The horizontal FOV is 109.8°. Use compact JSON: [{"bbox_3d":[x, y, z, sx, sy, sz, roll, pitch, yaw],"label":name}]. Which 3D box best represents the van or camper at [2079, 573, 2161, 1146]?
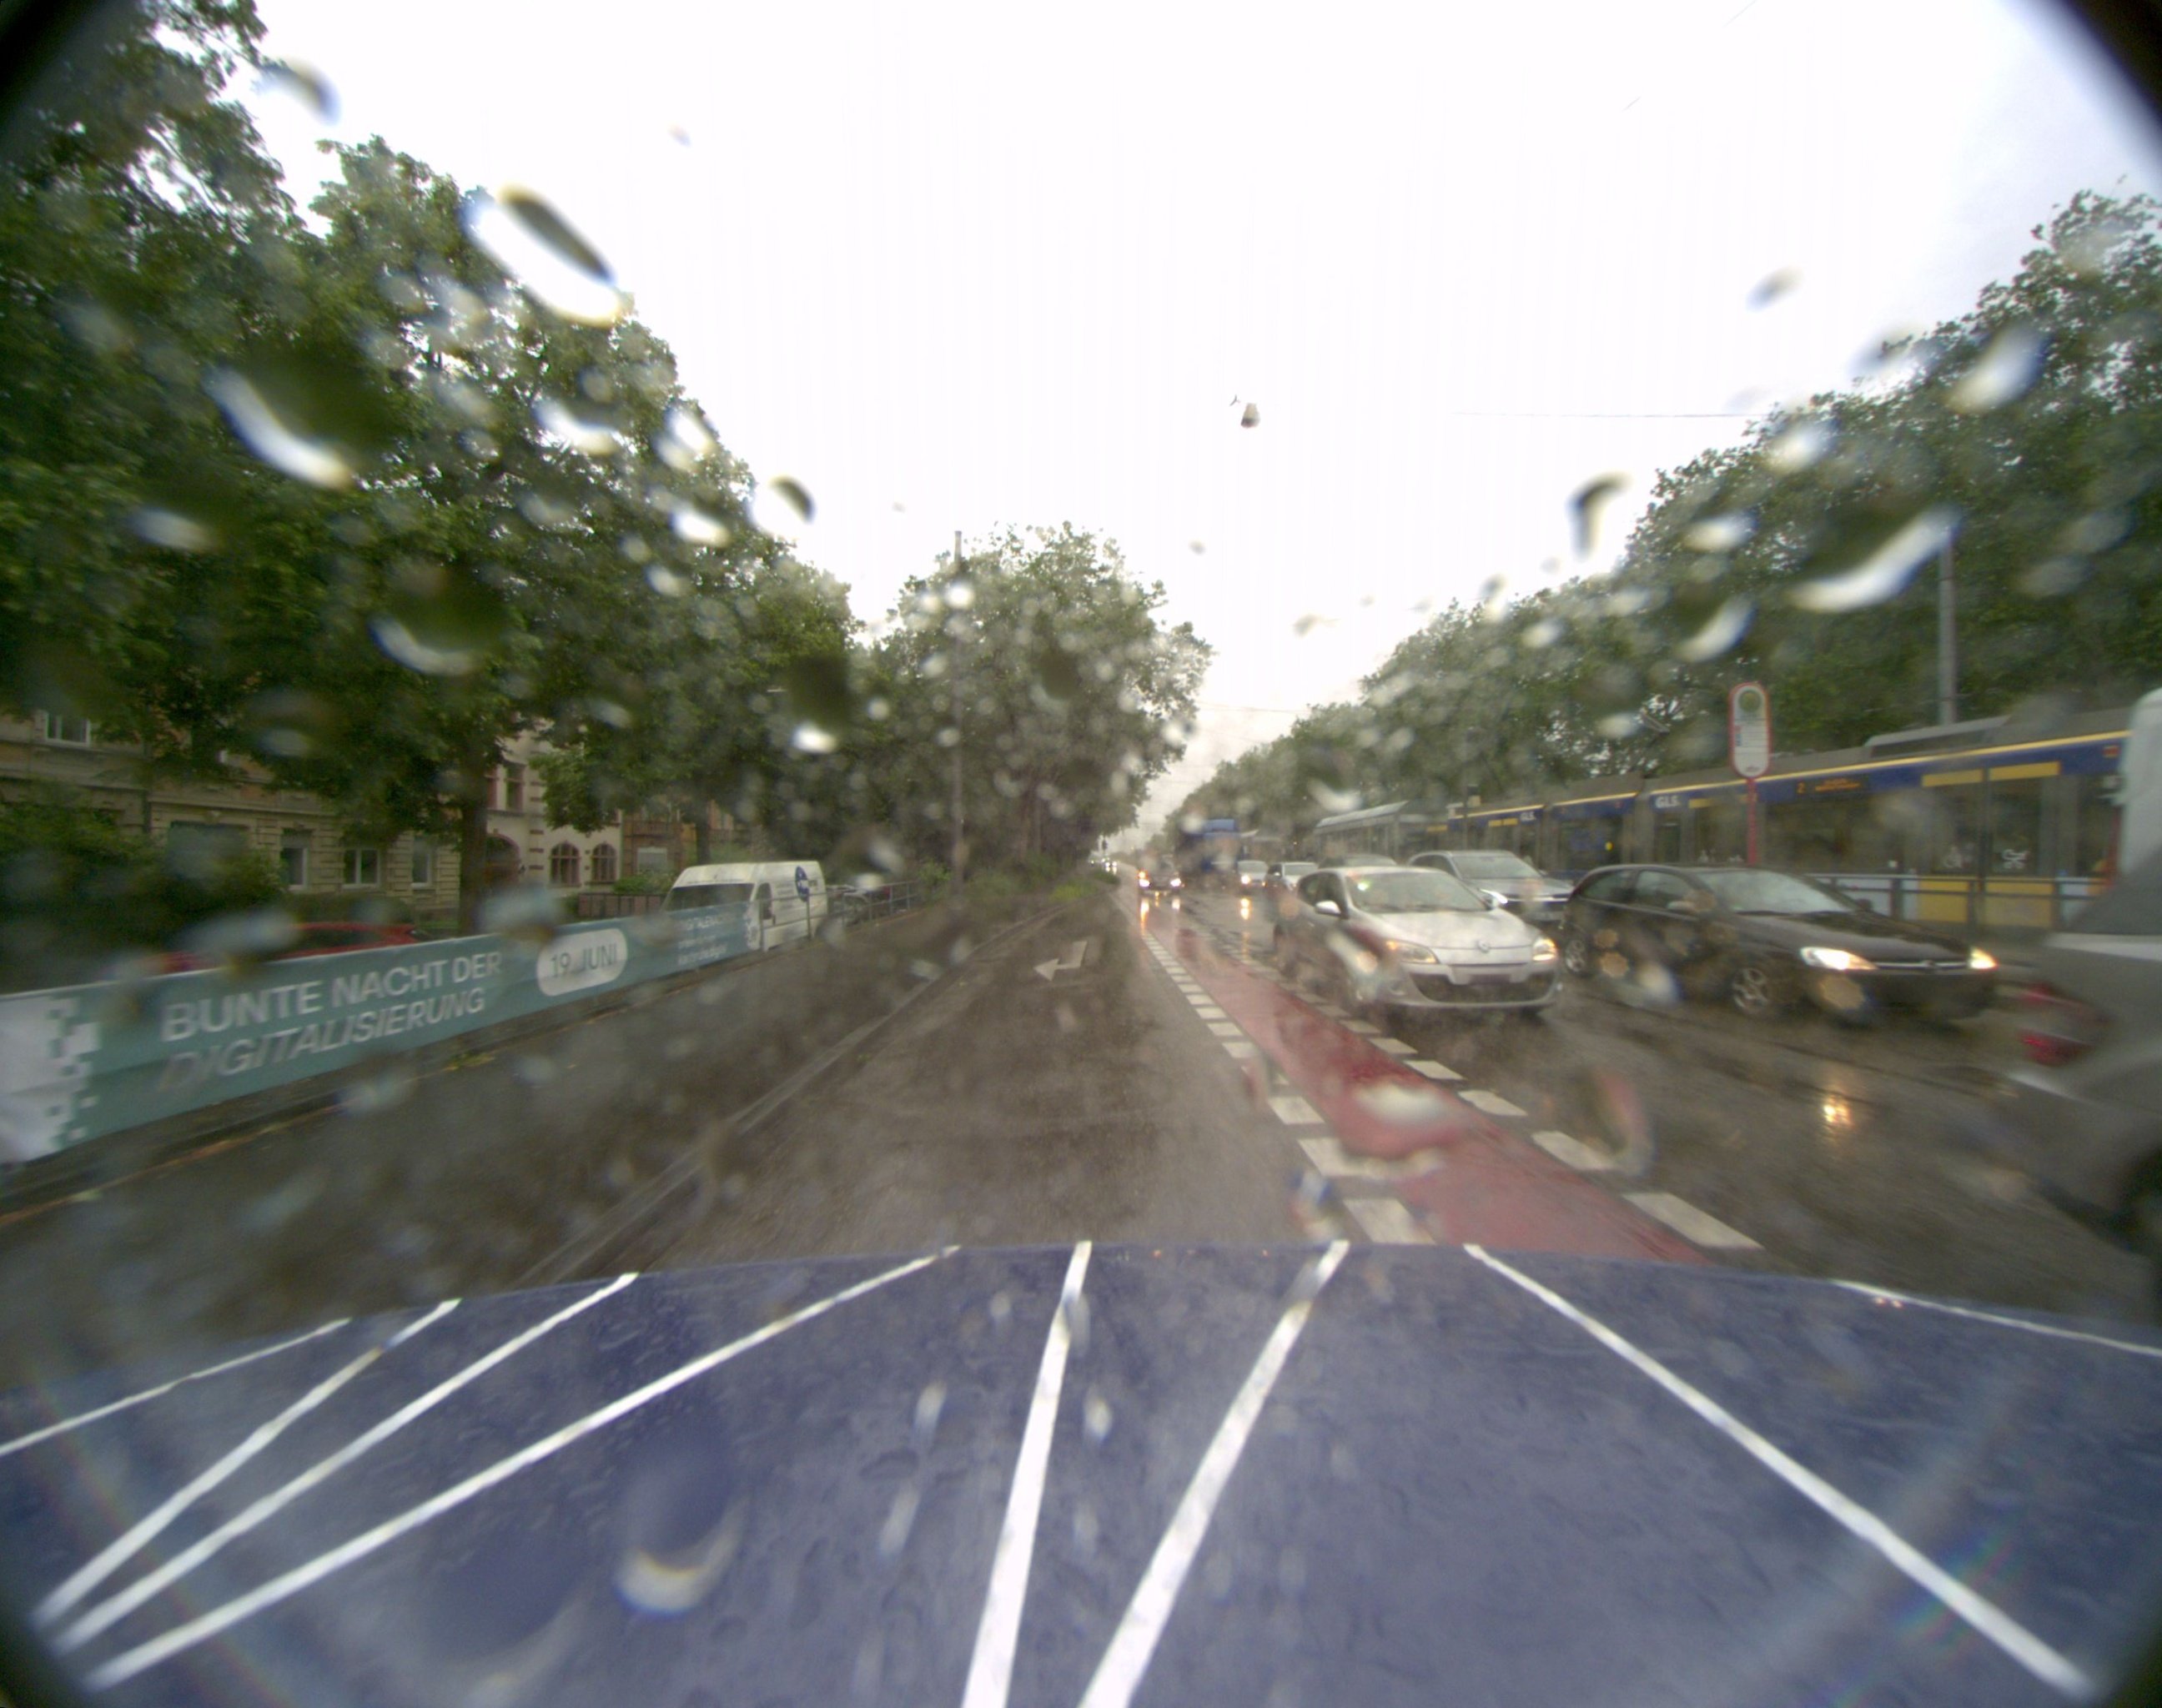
[{"bbox_3d":[7.008,0.020,1.572,2.164,3.123,5.851,0,0,-1],"label":"van or camper"}]

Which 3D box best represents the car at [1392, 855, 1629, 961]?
[{"bbox_3d":[7.460,0.822,13.821,1.919,1.614,4.455,0,0,2],"label":"car"}]

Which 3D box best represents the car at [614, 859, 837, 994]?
[{"bbox_3d":[-7.681,1.390,17.379,2.214,2.406,6.158,-3,0,-1],"label":"car"}]

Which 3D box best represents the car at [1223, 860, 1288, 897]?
[{"bbox_3d":[7.652,1.042,33.750,1.894,1.478,4.077,0,0,-1],"label":"car"}]

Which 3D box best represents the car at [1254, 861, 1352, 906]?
[{"bbox_3d":[7.573,0.947,26.378,1.999,1.386,4.606,0,0,-1],"label":"car"}]

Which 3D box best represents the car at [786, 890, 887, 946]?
[{"bbox_3d":[-7.727,1.990,24.479,1.972,1.345,4.383,-3,0,-3],"label":"car"}]

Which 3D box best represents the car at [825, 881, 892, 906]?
[{"bbox_3d":[-15.415,2.731,52.657,4.007,1.455,1.908,-2,0,-34],"label":"car"}]

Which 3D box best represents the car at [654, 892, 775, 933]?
[{"bbox_3d":[-14.797,2.327,30.798,4.269,1.372,1.687,-1,1,-27],"label":"car"}]

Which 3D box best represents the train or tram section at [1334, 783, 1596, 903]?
[{"bbox_3d":[14.028,-0.324,30.073,3.522,3.491,13.660,-3,0,1],"label":"train or tram section"}]

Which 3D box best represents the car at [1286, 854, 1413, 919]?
[{"bbox_3d":[7.405,0.832,21.447,1.999,1.611,4.320,-1,0,-1],"label":"car"}]

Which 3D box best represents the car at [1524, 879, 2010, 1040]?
[{"bbox_3d":[6.669,0.908,8.104,1.467,1.111,4.087,-2,0,0],"label":"car"}]

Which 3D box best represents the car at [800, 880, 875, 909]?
[{"bbox_3d":[-15.234,2.515,47.587,4.007,1.556,1.995,-2,0,-34],"label":"car"}]

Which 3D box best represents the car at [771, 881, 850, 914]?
[{"bbox_3d":[-15.624,2.490,43.965,4.006,1.599,1.821,-2,0,-30],"label":"car"}]

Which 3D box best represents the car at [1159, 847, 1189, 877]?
[{"bbox_3d":[7.820,0.657,64.567,1.998,2.412,5.728,-3,0,3],"label":"car"}]

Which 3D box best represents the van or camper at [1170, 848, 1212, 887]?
[{"bbox_3d":[7.765,0.919,54.363,1.998,2.555,6.431,-3,0,0],"label":"van or camper"}]

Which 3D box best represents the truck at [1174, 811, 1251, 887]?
[{"bbox_3d":[7.317,-0.247,43.631,2.545,3.866,9.811,1,0,-1],"label":"truck"}]

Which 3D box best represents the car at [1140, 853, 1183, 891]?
[{"bbox_3d":[3.765,0.810,36.049,1.756,1.656,3.678,-2,0,2],"label":"car"}]

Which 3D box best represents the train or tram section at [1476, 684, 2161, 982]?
[{"bbox_3d":[14.031,-0.295,15.627,3.550,3.393,15.503,-3,0,0],"label":"train or tram section"}]

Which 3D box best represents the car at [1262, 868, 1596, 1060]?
[{"bbox_3d":[3.365,0.953,8.298,1.772,1.469,4.001,-2,0,0],"label":"car"}]

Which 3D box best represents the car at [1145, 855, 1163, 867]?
[{"bbox_3d":[7.542,0.678,79.090,1.467,1.185,3.615,-2,0,0],"label":"car"}]

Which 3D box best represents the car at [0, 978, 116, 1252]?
[{"bbox_3d":[-7.252,1.612,2.965,1.736,1.530,4.074,-2,0,-1],"label":"car"}]

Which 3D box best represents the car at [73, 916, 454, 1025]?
[{"bbox_3d":[-14.610,2.011,14.038,4.439,1.444,1.894,0,-1,-31],"label":"car"}]
